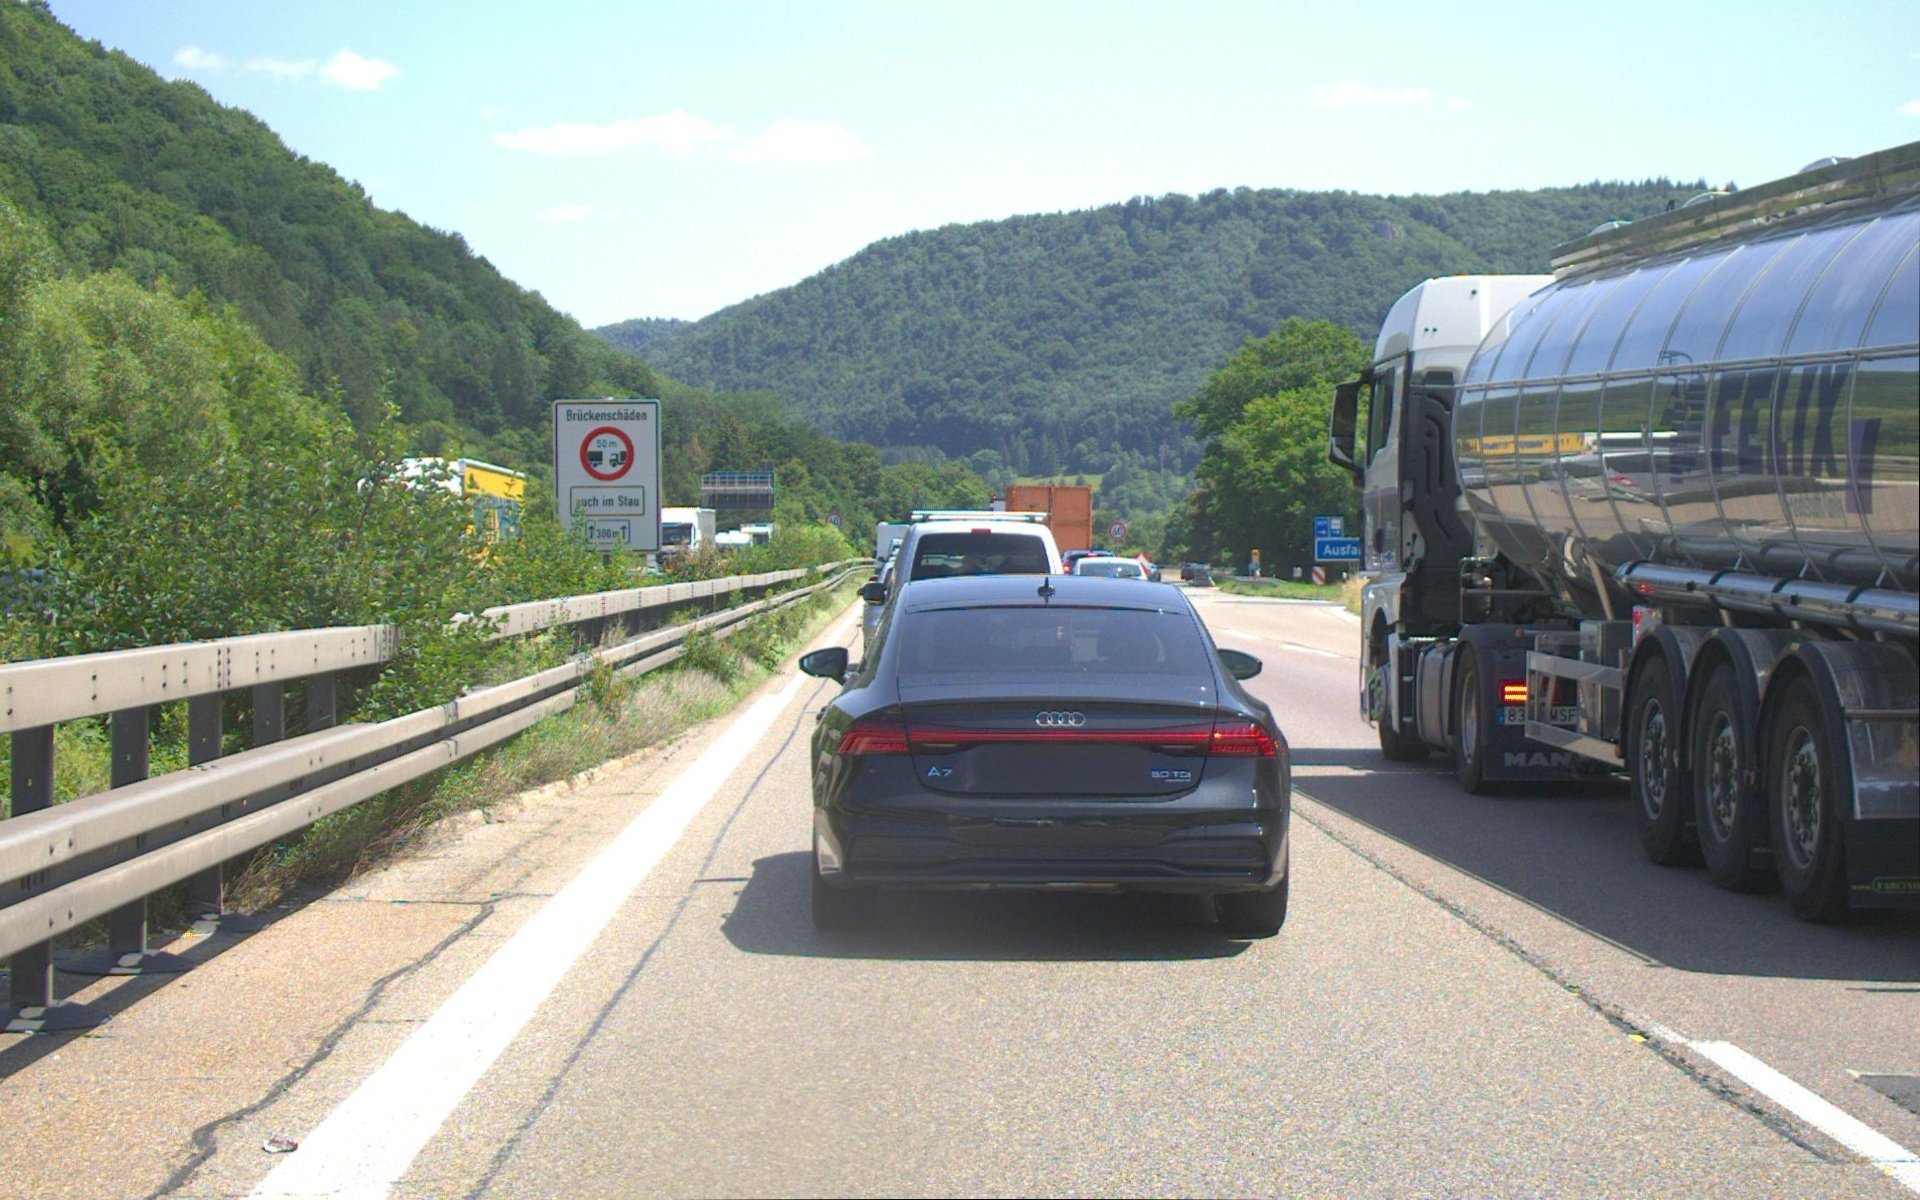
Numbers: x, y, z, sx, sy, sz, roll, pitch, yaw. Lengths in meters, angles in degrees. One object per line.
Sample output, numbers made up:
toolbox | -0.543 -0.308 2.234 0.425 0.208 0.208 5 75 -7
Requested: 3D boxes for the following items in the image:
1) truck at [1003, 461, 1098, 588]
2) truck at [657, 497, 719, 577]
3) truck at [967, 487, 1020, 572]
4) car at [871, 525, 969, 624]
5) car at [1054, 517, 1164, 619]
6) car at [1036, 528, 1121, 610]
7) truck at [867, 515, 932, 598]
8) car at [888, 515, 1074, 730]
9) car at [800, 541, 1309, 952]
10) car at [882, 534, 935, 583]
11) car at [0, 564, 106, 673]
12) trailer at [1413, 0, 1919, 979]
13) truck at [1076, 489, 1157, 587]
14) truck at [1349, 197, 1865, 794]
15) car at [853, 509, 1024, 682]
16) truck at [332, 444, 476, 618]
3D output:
truck | 2.965 -2.511 116.581 2.817 3.989 14.956 1 1 0
truck | -13.836 -3.208 175.004 2.728 3.988 5.370 -1 1 0
truck | 1.386 -2.978 146.633 1.993 3.435 11.812 1 1 -1
car | -0.864 -0.554 72.225 1.993 2.007 4.000 0 1 -1
car | 2.987 -0.662 69.579 1.993 2.007 4.000 0 1 -1
car | 2.924 -0.780 85.275 1.993 1.996 4.000 0 1 0
truck | -2.549 -1.896 148.288 2.628 3.429 11.421 0 1 0
car | 0.152 0.168 31.487 1.576 1.827 4.000 1 1 -1
car | 0.267 0.508 14.602 1.849 1.483 4.083 1 1 -2
car | -1.728 -1.397 116.144 1.712 1.613 4.000 0 1 0
car | -13.227 0.234 47.219 1.869 1.415 4.433 -1 1 0
trailer | 4.560 -0.586 17.812 2.538 3.723 11.892 1 1 -1
truck | 6.700 -2.657 149.277 2.817 3.989 14.956 1 1 0
truck | 4.388 -0.697 24.366 2.511 3.745 5.246 1 1 -1
car | -0.281 -0.076 42.317 1.993 2.007 4.000 1 1 -1
truck | -13.447 -1.665 83.560 2.547 4.076 5.850 0 1 0
